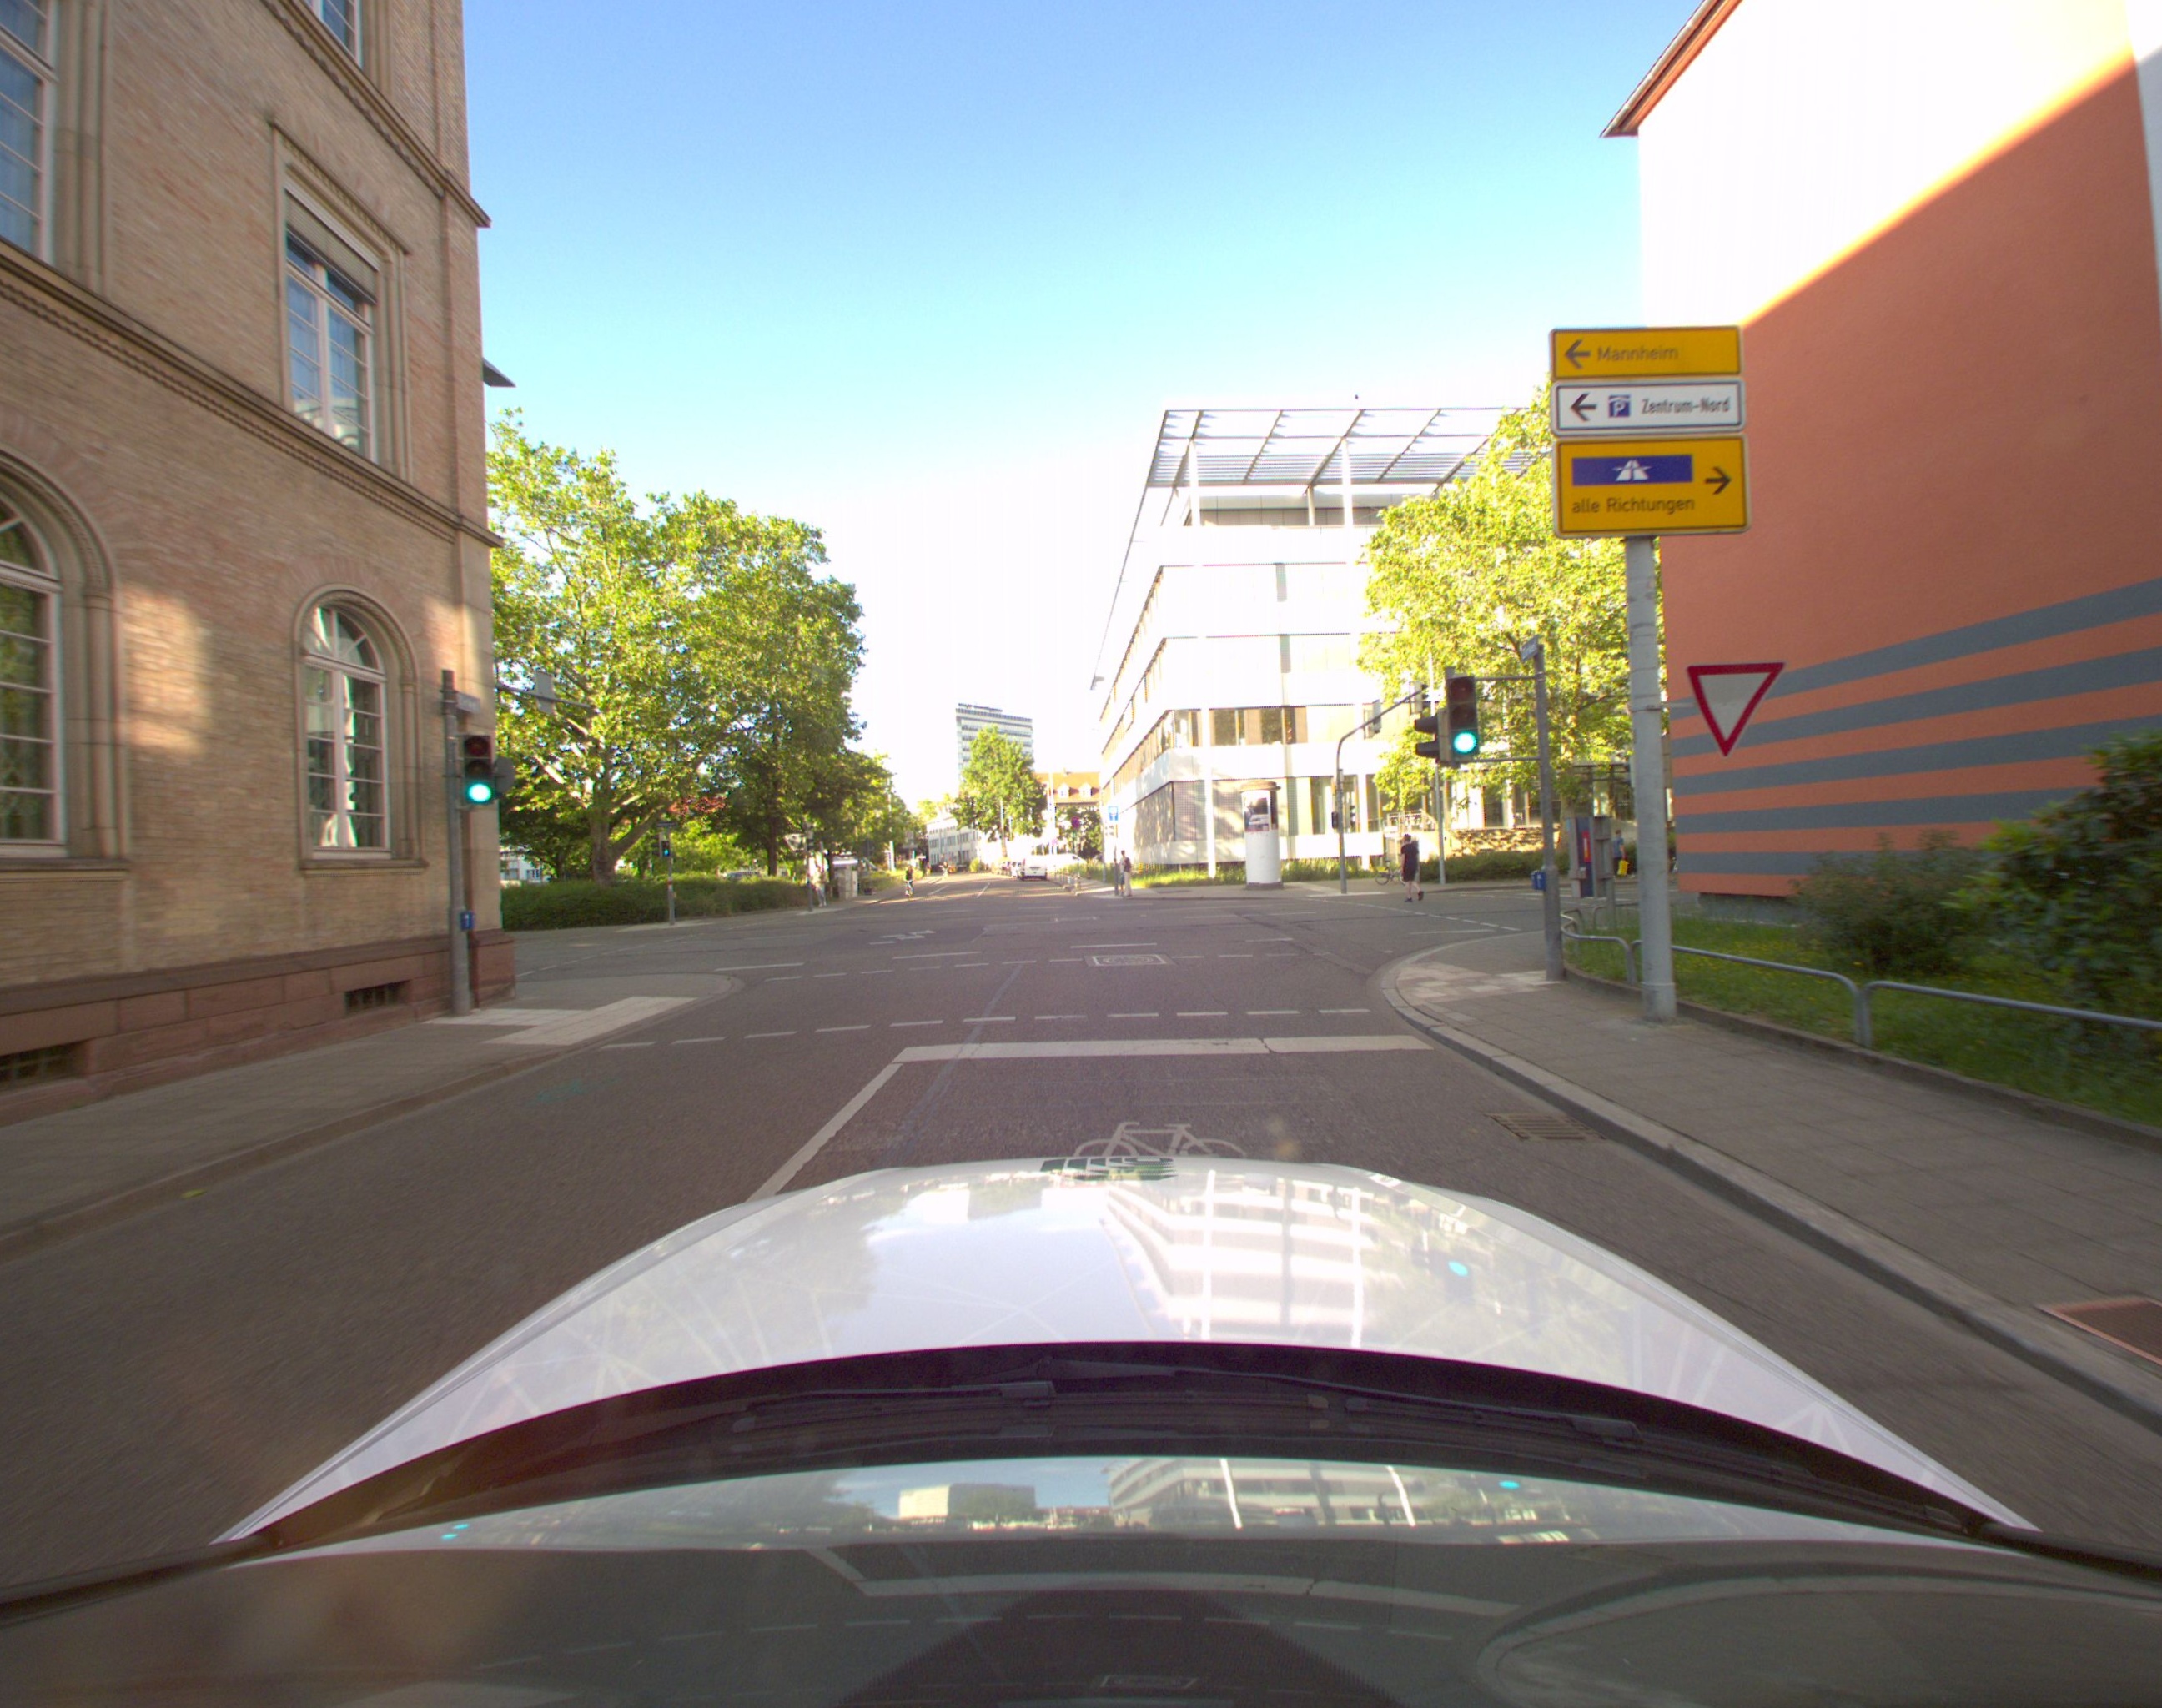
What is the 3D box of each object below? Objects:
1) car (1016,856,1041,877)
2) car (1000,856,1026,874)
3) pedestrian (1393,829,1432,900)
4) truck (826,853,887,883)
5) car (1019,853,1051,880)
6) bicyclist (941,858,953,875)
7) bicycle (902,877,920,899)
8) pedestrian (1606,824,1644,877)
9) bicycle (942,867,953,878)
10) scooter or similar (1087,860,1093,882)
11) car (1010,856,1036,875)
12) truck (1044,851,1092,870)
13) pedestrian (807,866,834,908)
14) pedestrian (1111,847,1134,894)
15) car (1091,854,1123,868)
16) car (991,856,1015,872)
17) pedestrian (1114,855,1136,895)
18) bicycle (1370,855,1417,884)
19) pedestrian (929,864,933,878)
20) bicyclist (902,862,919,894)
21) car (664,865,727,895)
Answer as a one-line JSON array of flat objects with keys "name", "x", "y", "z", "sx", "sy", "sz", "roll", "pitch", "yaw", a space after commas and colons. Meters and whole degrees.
[{"name": "car", "x": -4.492, "y": 1.015, "z": 68.666, "sx": 1.886, "sy": 1.555, "sz": 4.405, "roll": -2, "pitch": 1, "yaw": -6}, {"name": "car", "x": -6.832, "y": 1.049, "z": 81.438, "sx": 1.892, "sy": 1.655, "sz": 4.393, "roll": -2, "pitch": 1, "yaw": -15}, {"name": "pedestrian", "x": 8.802, "y": 0.271, "z": 21.632, "sx": 0.704, "sy": 1.840, "sz": 0.838, "roll": -1, "pitch": 0, "yaw": 3}, {"name": "truck", "x": -19.682, "y": 1.210, "z": 71.650, "sx": 4.823, "sy": 2.399, "sz": 2.083, "roll": -2, "pitch": 0, "yaw": -7}, {"name": "car", "x": -3.458, "y": 0.900, "z": 60.437, "sx": 2.083, "sy": 1.795, "sz": 4.405, "roll": -2, "pitch": 1, "yaw": -6}, {"name": "bicyclist", "x": -12.393, "y": 1.138, "z": 75.340, "sx": 0.865, "sy": 1.515, "sz": 1.016, "roll": -5, "pitch": -1, "yaw": -8}, {"name": "bicycle", "x": -8.221, "y": 1.630, "z": 39.467, "sx": 0.614, "sy": 0.970, "sz": 1.838, "roll": -3, "pitch": 0, "yaw": -5}, {"name": "pedestrian", "x": 19.288, "y": -0.114, "z": 28.893, "sx": 0.833, "sy": 1.840, "sz": 0.707, "roll": -1, "pitch": 0, "yaw": -7}, {"name": "bicycle", "x": -12.351, "y": 1.708, "z": 75.318, "sx": 0.865, "sy": 1.009, "sz": 2.408, "roll": -5, "pitch": 0, "yaw": -7}, {"name": "scooter or similar", "x": 0.611, "y": 1.138, "z": 53.987, "sx": 0.329, "sy": 1.424, "sz": 1.334, "roll": -1, "pitch": -1, "yaw": -2}, {"name": "car", "x": -5.276, "y": 1.032, "z": 74.091, "sx": 1.888, "sy": 1.555, "sz": 4.400, "roll": -2, "pitch": 1, "yaw": -10}, {"name": "truck", "x": -1.578, "y": 0.774, "z": 98.703, "sx": 5.348, "sy": 2.014, "sz": 1.989, "roll": -2, "pitch": -1, "yaw": -16}, {"name": "pedestrian", "x": -11.080, "y": 1.393, "z": 34.661, "sx": 0.700, "sy": 1.723, "sz": 0.955, "roll": -4, "pitch": -1, "yaw": 0}, {"name": "pedestrian", "x": 1.694, "y": 0.676, "z": 33.127, "sx": 0.554, "sy": 1.850, "sz": 0.680, "roll": -6, "pitch": 0, "yaw": 19}, {"name": "car", "x": 3.199, "y": 0.855, "z": 99.641, "sx": 3.562, "sy": 1.546, "sz": 1.550, "roll": -2, "pitch": -1, "yaw": -16}, {"name": "car", "x": -8.804, "y": 1.123, "z": 91.499, "sx": 1.892, "sy": 1.655, "sz": 4.393, "roll": -2, "pitch": 1, "yaw": -15}, {"name": "pedestrian", "x": 1.770, "y": 0.829, "z": 32.514, "sx": 0.560, "sy": 1.540, "sz": 0.673, "roll": -6, "pitch": 0, "yaw": -15}, {"name": "bicycle", "x": 11.826, "y": 0.573, "z": 30.824, "sx": 0.510, "sy": 1.049, "sz": 1.671, "roll": -4, "pitch": 3, "yaw": -31}, {"name": "pedestrian", "x": -17.698, "y": 2.010, "z": 96.119, "sx": 0.434, "sy": 1.608, "sz": 0.489, "roll": -2, "pitch": -1, "yaw": -19}, {"name": "bicyclist", "x": -8.227, "y": 1.151, "z": 39.292, "sx": 0.614, "sy": 1.532, "sz": 0.902, "roll": -3, "pitch": 0, "yaw": -5}, {"name": "car", "x": -35.158, "y": 2.354, "z": 74.366, "sx": 4.549, "sy": 2.391, "sz": 2.070, "roll": -4, "pitch": -1, "yaw": -6}]
